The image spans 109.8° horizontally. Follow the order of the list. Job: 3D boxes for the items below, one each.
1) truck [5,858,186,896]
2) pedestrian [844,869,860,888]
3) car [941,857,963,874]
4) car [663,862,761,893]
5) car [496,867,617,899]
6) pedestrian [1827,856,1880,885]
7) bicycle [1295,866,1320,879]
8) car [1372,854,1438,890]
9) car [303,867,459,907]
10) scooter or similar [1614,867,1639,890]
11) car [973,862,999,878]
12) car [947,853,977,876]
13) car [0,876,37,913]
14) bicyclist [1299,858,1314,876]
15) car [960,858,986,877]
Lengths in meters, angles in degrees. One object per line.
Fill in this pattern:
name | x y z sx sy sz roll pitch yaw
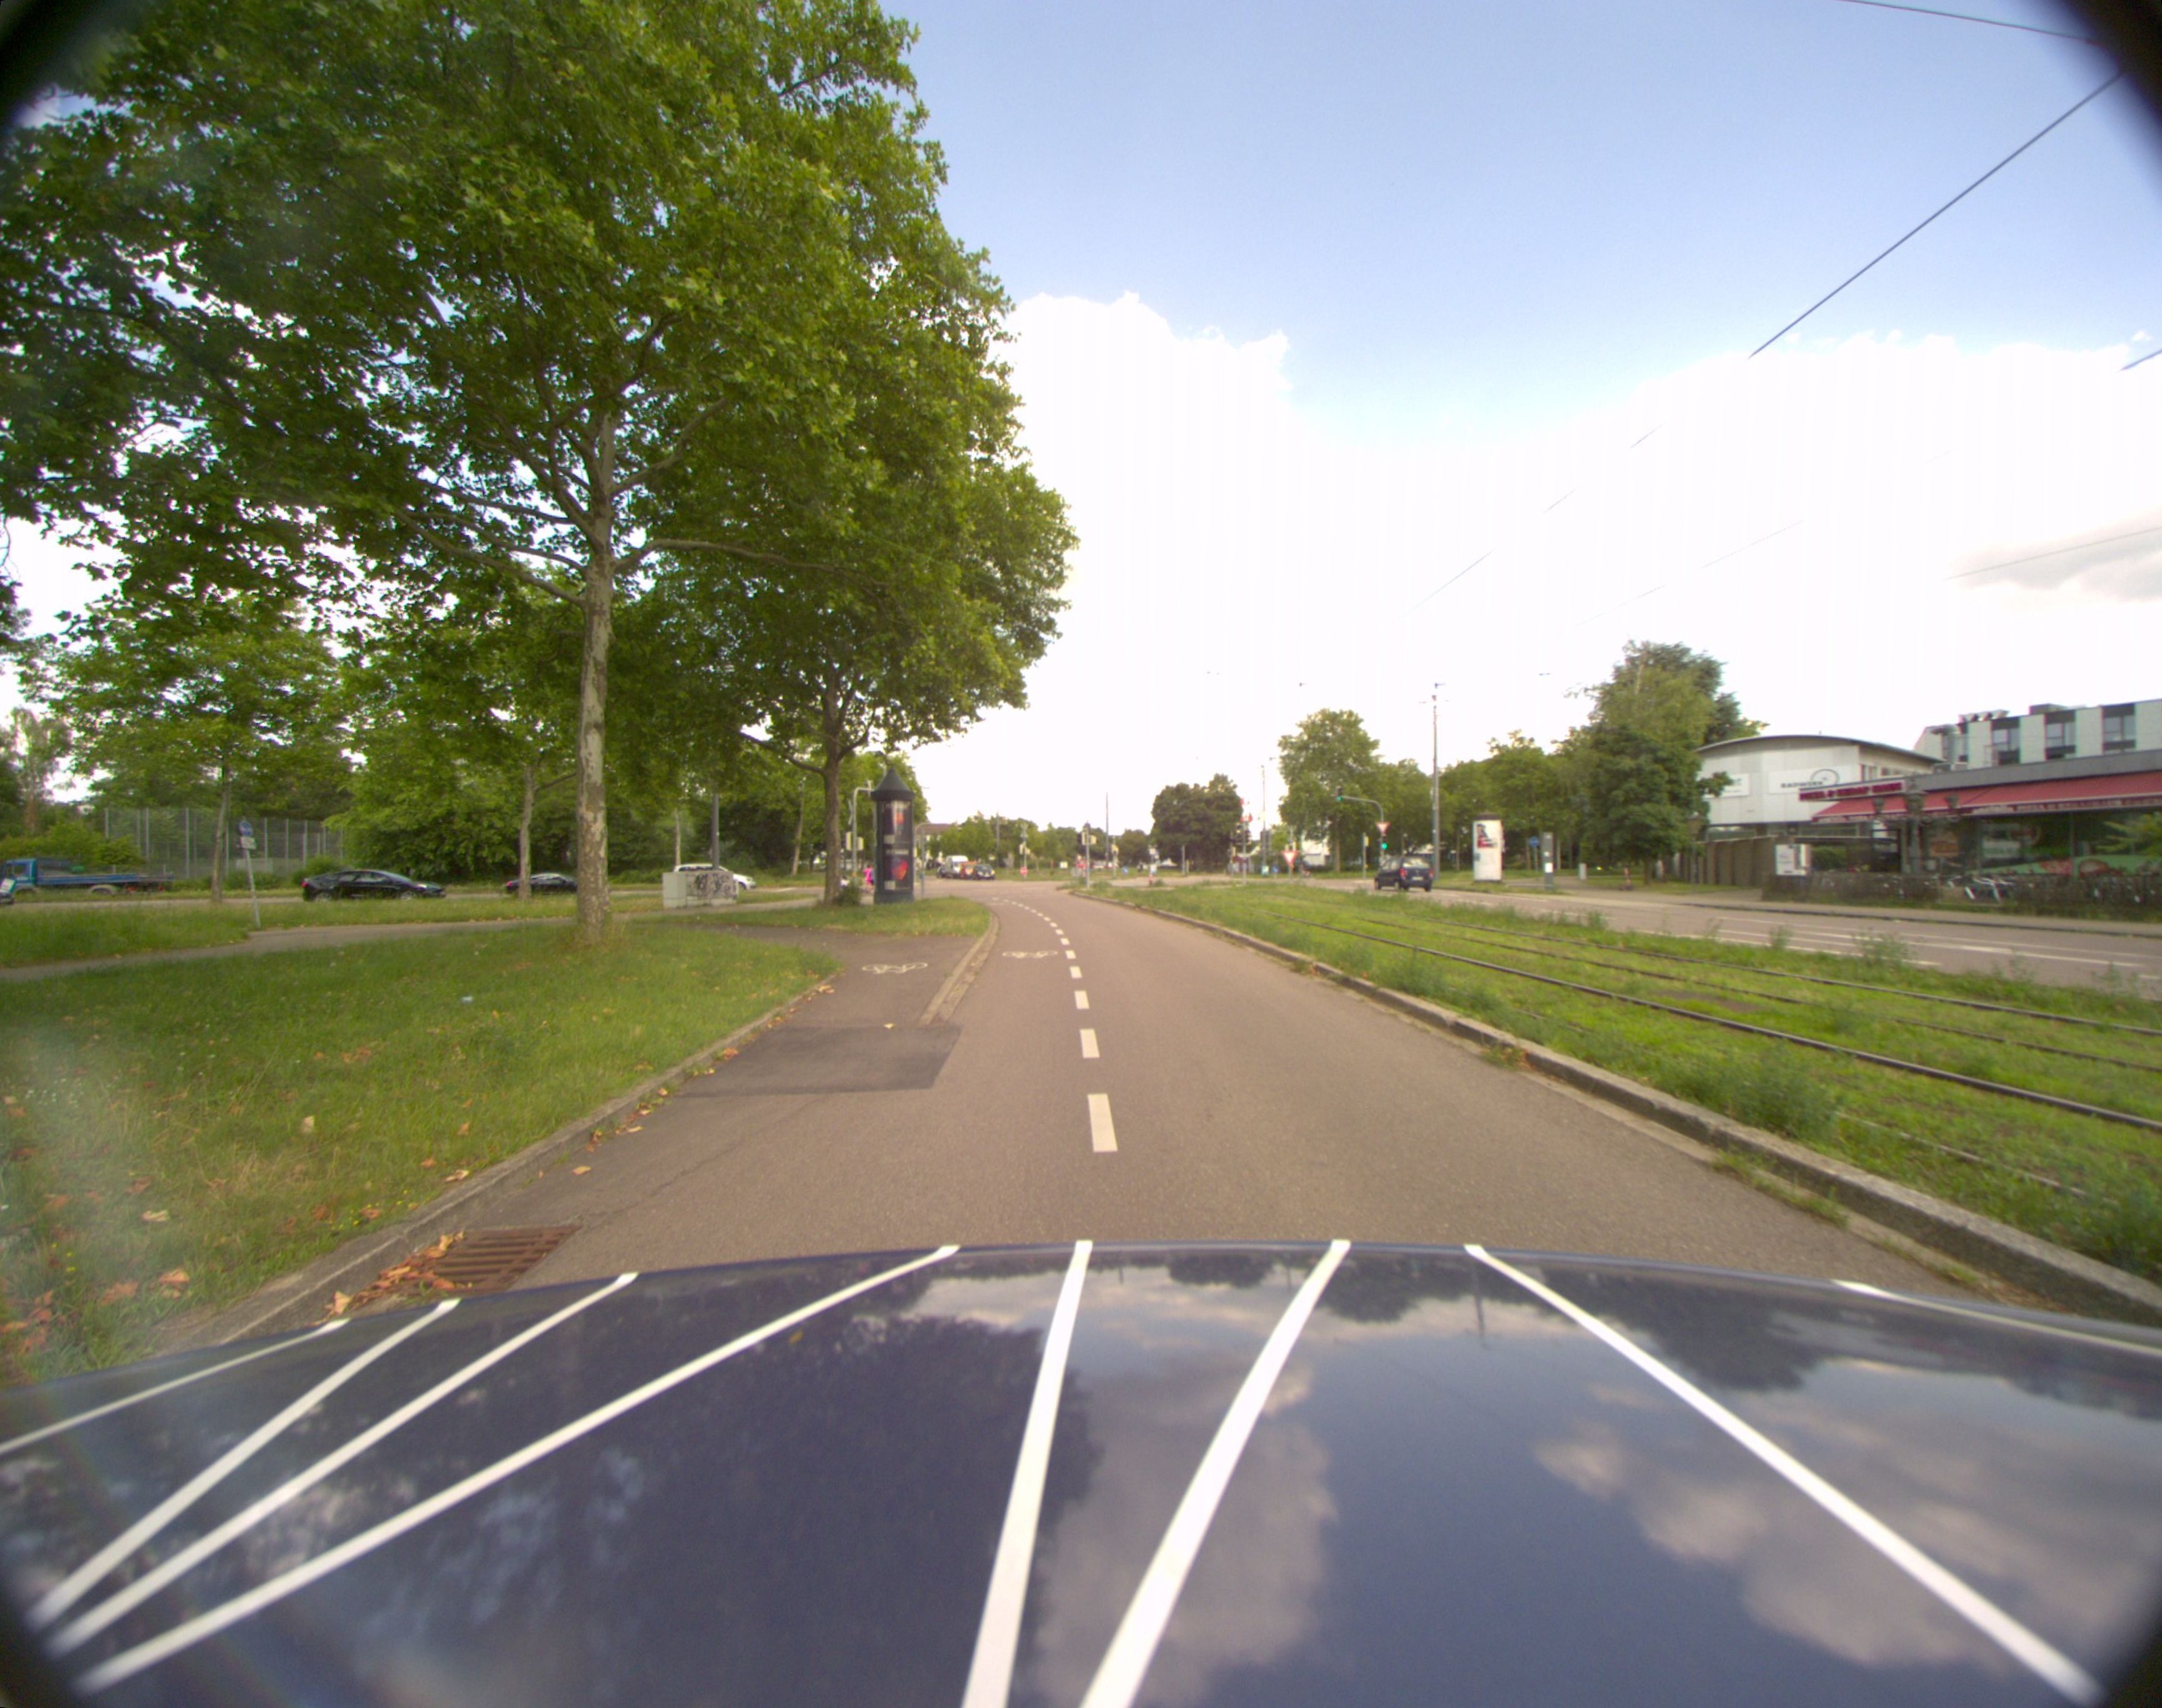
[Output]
truck | -54.532 1.245 42.223 5.860 2.002 2.289 0 0 -17
pedestrian | -12.412 1.323 41.180 0.723 1.028 0.901 -1 0 -10
car | -15.603 1.409 92.021 1.798 1.924 4.361 -1 0 -20
car | -20.336 1.272 42.075 4.692 1.601 1.996 0 1 -21
car | -26.846 1.465 39.097 4.754 1.461 1.996 0 1 -21
pedestrian | 30.739 0.659 30.256 1.156 1.139 0.932 0 0 1
bicycle | 19.110 1.577 64.148 0.806 1.053 2.065 -1 -2 -30
car | 15.468 0.833 36.493 1.783 1.617 3.496 0 0 2
car | -31.014 1.416 33.856 4.691 1.601 1.996 0 1 -21
scooter or similar | 25.103 1.115 34.995 0.427 1.027 1.224 -1 0 10
car | -9.368 1.538 74.761 1.798 1.530 3.994 -1 0 -19
car | -13.619 1.169 86.650 2.242 2.492 5.716 -1 0 -21
car | -48.082 1.746 31.869 4.692 1.504 1.996 0 1 -21
bicyclist | 19.062 1.093 64.222 0.806 1.461 0.830 -1 -2 -30
car | -11.466 1.421 80.479 1.798 1.924 4.361 -1 0 -20
